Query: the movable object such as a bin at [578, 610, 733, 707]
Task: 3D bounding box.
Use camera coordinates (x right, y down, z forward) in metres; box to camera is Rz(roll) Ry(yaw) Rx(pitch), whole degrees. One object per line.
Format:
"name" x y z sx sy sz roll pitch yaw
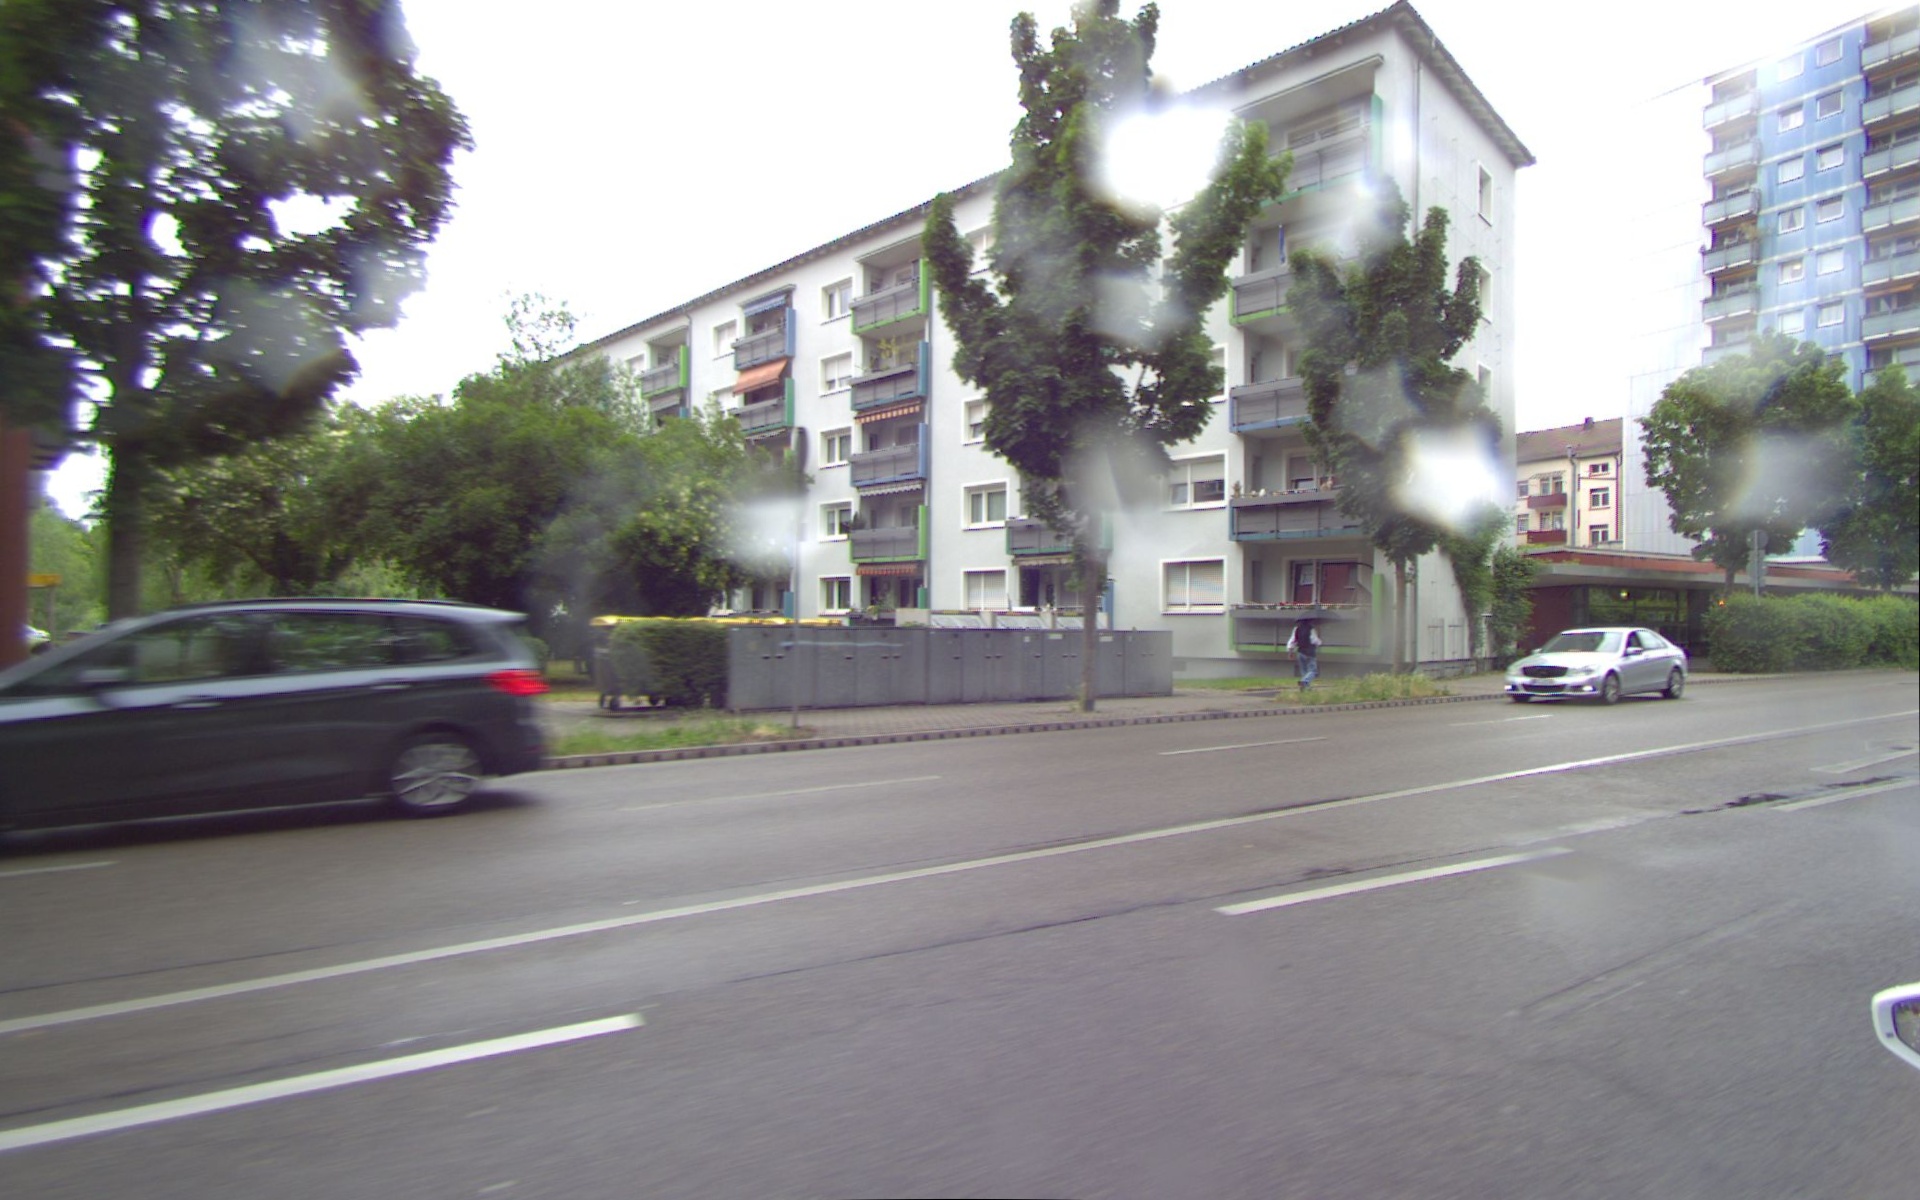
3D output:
"movable object such as a bin" -4.540 0.834 15.016 1.948 1.349 1.149 1 -1 -37

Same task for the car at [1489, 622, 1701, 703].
"car" 12.472 1.166 19.638 4.580 1.409 1.862 1 -3 -35

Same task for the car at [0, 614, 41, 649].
"car" -52.326 1.688 54.157 1.973 1.862 3.976 -1 -2 44

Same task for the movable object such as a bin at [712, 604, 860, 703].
"movable object such as a bin" -2.821 0.833 16.321 2.068 1.504 1.206 1 -1 -37

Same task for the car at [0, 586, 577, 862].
"car" -5.319 0.783 7.329 4.420 1.623 1.862 1 -3 -36

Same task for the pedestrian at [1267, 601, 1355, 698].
"pedestrian" 6.942 0.953 19.886 1.250 1.828 1.127 1 -1 -34
